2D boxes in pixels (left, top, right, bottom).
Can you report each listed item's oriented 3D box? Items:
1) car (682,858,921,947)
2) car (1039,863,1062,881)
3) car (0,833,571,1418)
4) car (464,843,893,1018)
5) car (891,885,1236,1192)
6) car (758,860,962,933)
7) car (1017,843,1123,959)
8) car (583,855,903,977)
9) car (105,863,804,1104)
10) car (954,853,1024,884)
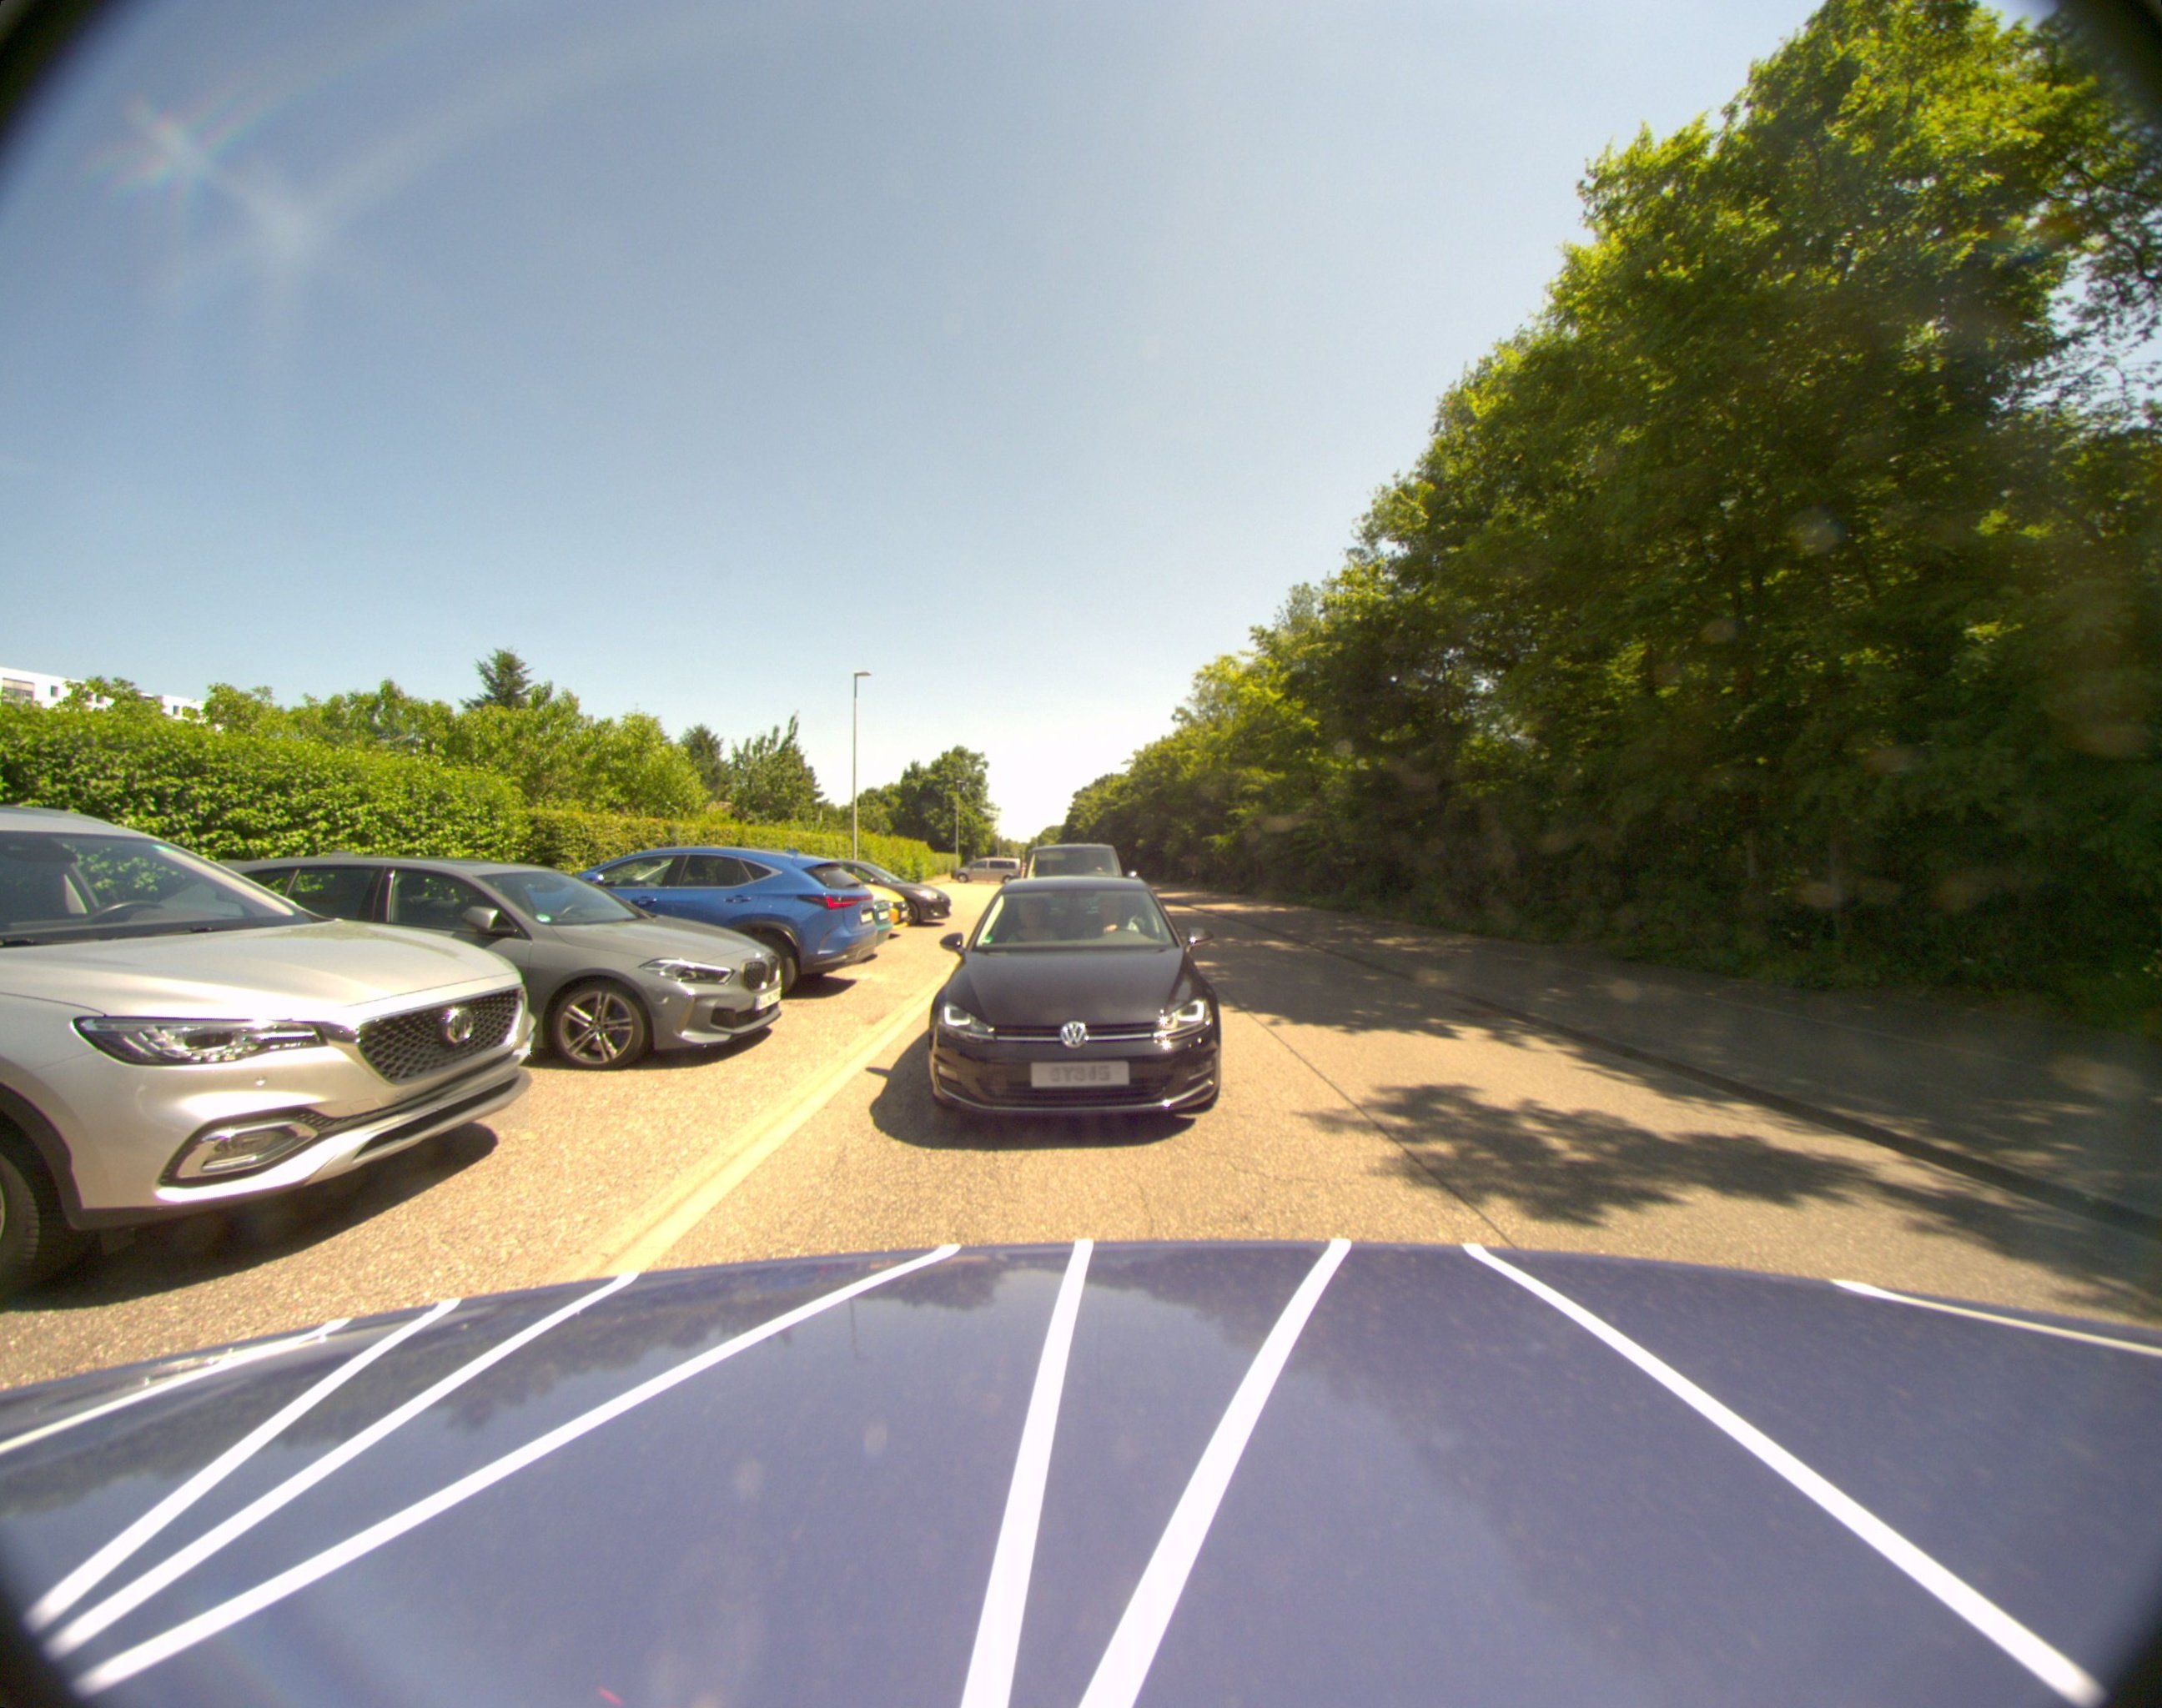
[{"bbox_3d":[-5.396,0.903,15.010,4.036,1.438,1.649,3,0,0],"label":"car"},{"bbox_3d":[-2.683,1.543,65.811,1.744,1.396,4.386,1,0,-4],"label":"car"},{"bbox_3d":[-4.808,0.753,3.084,4.170,1.632,1.775,3,0,-2],"label":"car"},{"bbox_3d":[-4.468,0.808,8.862,4.036,1.632,1.674,3,0,0],"label":"car"},{"bbox_3d":[-0.103,1.028,6.067,1.743,1.396,4.388,-1,0,-1],"label":"car"},{"bbox_3d":[-5.113,0.958,17.919,4.251,1.410,1.649,3,0,0],"label":"car"},{"bbox_3d":[-0.203,0.791,14.790,1.743,1.904,4.388,-1,0,-1],"label":"car"},{"bbox_3d":[-4.950,0.876,11.520,4.036,1.505,1.649,3,0,0],"label":"car"},{"bbox_3d":[-4.544,0.891,5.989,4.036,1.401,1.679,3,0,-1],"label":"car"},{"bbox_3d":[-6.211,0.959,51.566,4.493,1.840,1.695,3,0,-4],"label":"car"}]
